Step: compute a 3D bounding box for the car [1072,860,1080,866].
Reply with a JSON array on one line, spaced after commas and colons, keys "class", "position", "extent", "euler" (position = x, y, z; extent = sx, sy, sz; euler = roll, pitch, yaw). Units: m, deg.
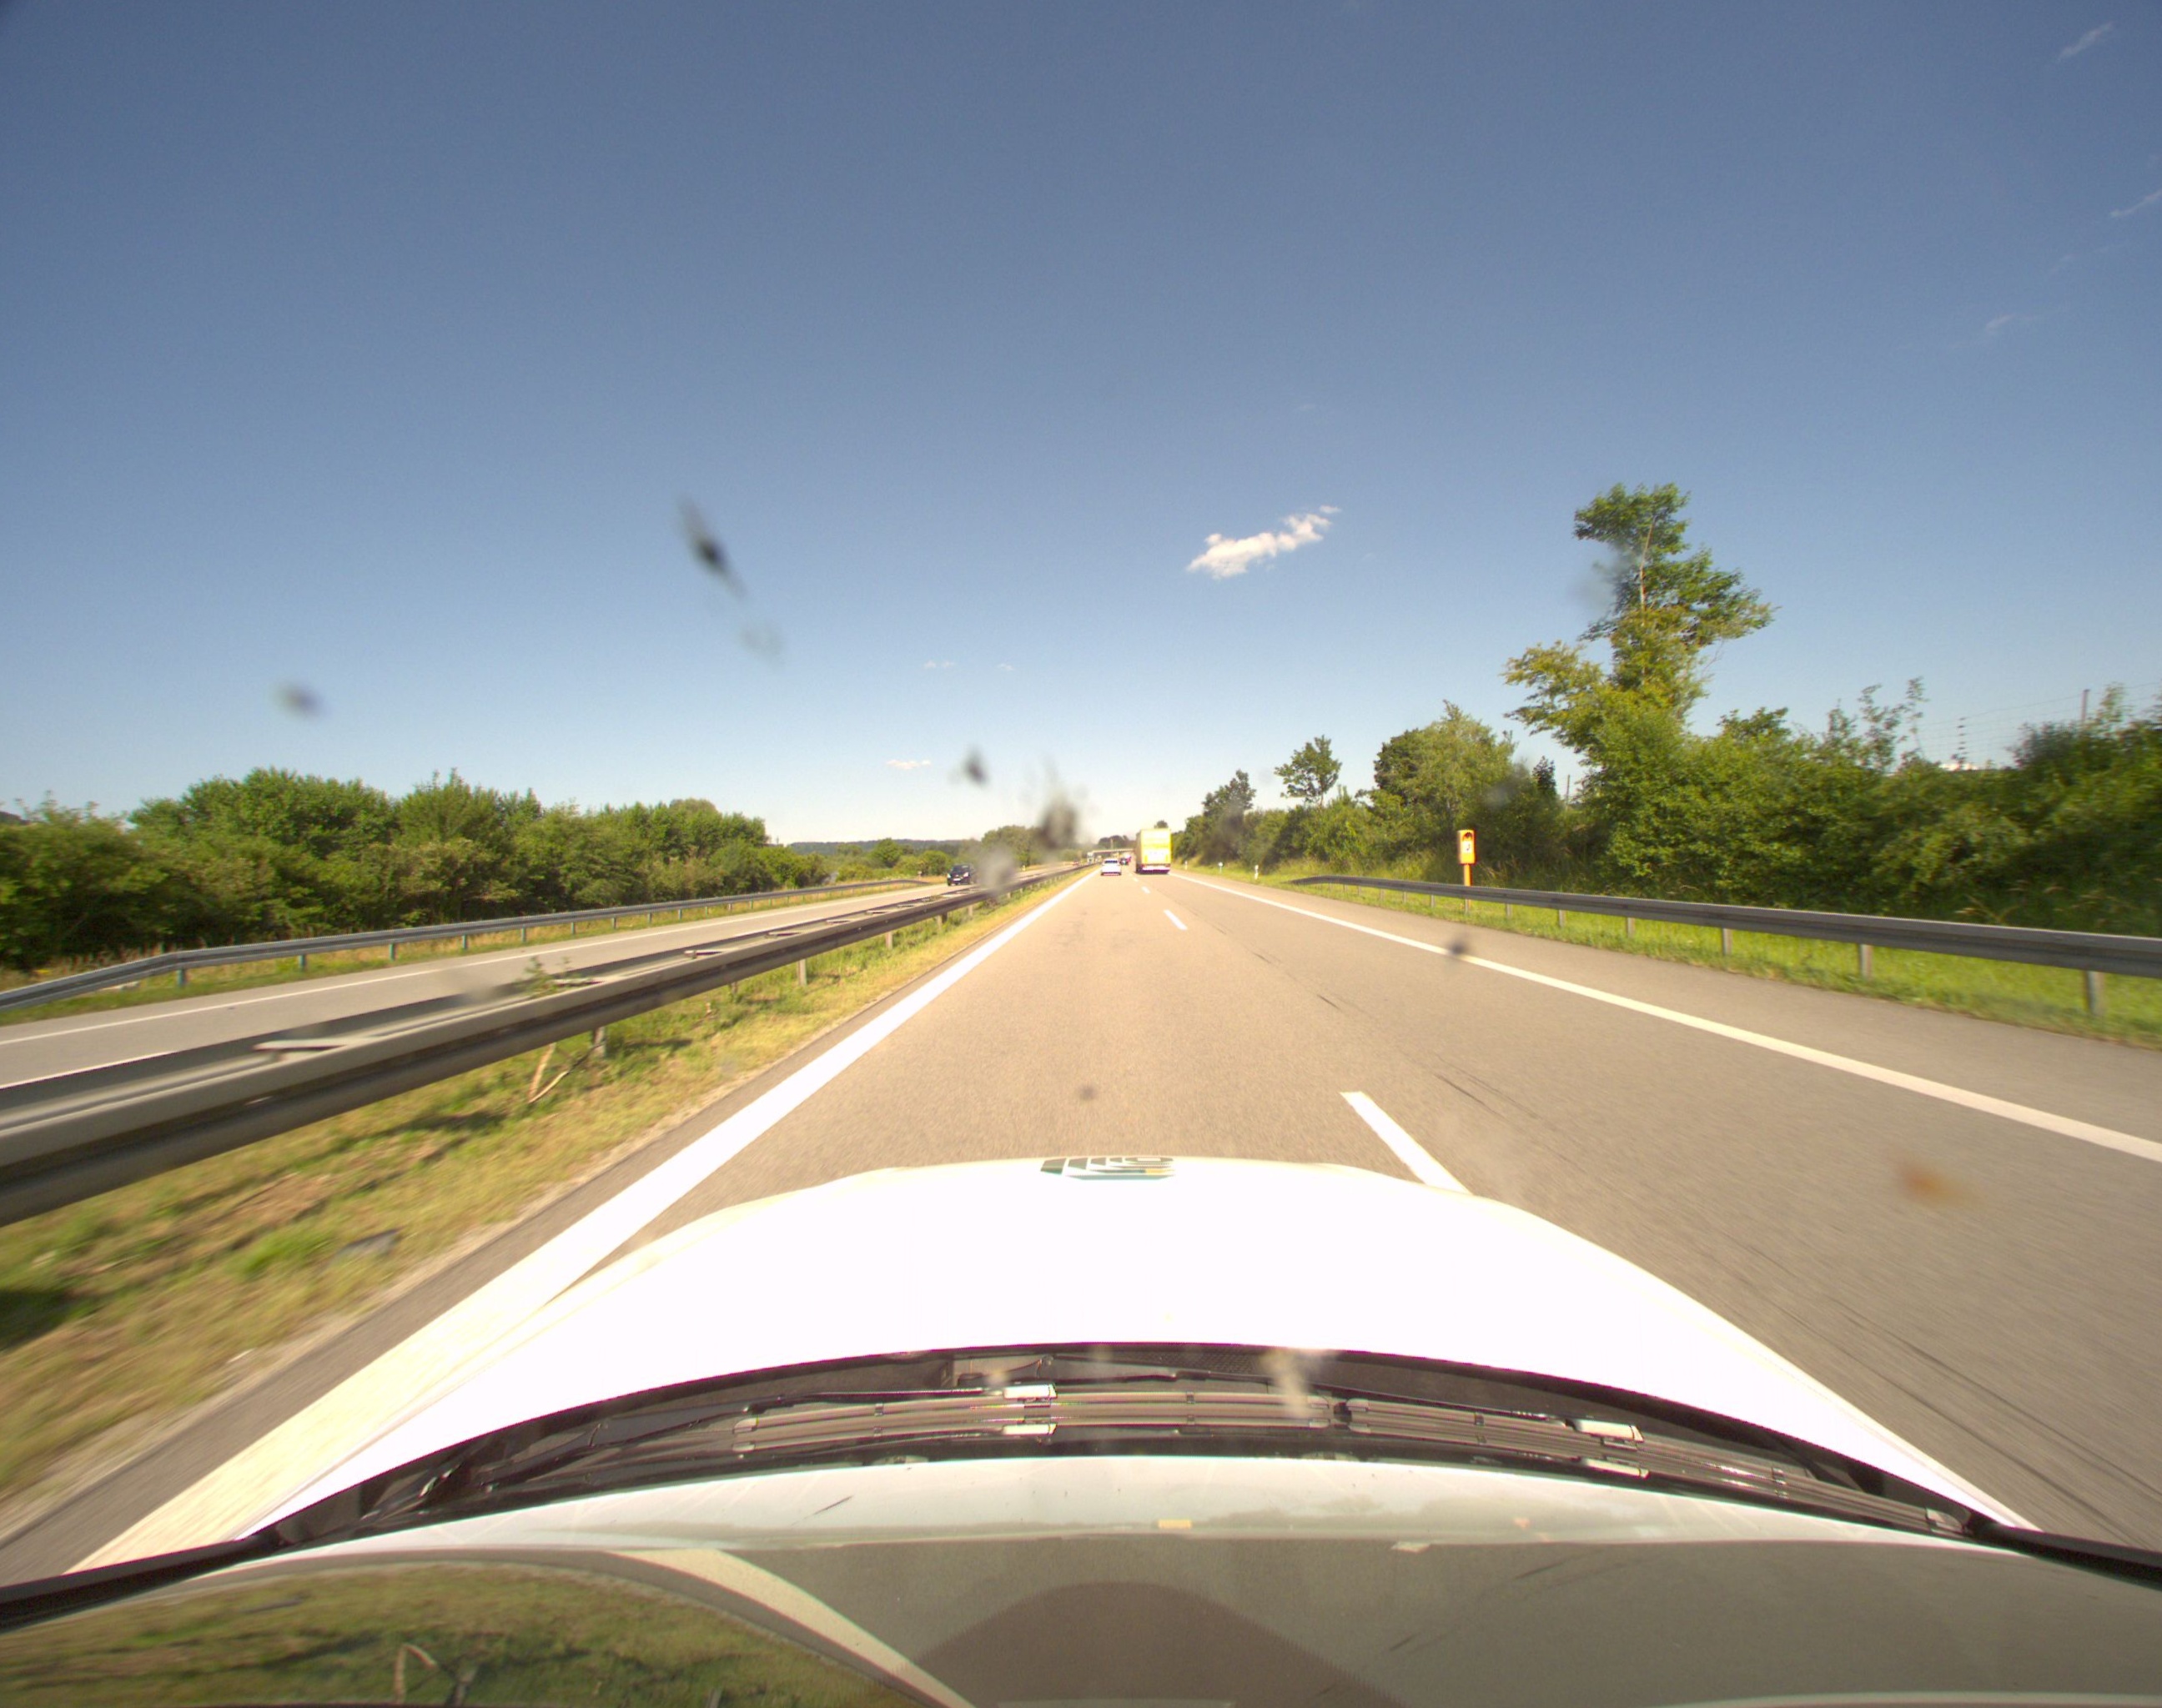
[{"class": "car", "position": [-1.319, 2.437, 218.746], "extent": [1.723, 1.511, 4.484], "euler": [-4, -1, 4]}]

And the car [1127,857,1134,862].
[{"class": "car", "position": [15.735, 1.773, 259.388], "extent": [1.895, 1.683, 4.733], "euler": [1, -1, 2]}]

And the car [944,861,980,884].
[{"class": "car", "position": [-9.100, 1.375, 62.627], "extent": [1.823, 1.571, 4.658], "euler": [-4, -1, 2]}]

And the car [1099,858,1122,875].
[{"class": "car", "position": [2.589, 1.091, 71.051], "extent": [1.835, 1.416, 4.003], "euler": [0, -1, 3]}]

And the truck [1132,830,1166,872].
[{"class": "truck", "position": [6.986, -0.287, 84.066], "extent": [3.157, 4.114, 6.390], "euler": [0, -1, 1]}]

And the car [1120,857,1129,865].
[{"class": "car", "position": [8.345, 1.283, 155.829], "extent": [1.835, 1.520, 4.003], "euler": [0, -1, 3]}]

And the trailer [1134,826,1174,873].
[{"class": "trailer", "position": [6.729, -0.316, 77.175], "extent": [3.172, 4.059, 13.194], "euler": [0, -1, 3]}]
